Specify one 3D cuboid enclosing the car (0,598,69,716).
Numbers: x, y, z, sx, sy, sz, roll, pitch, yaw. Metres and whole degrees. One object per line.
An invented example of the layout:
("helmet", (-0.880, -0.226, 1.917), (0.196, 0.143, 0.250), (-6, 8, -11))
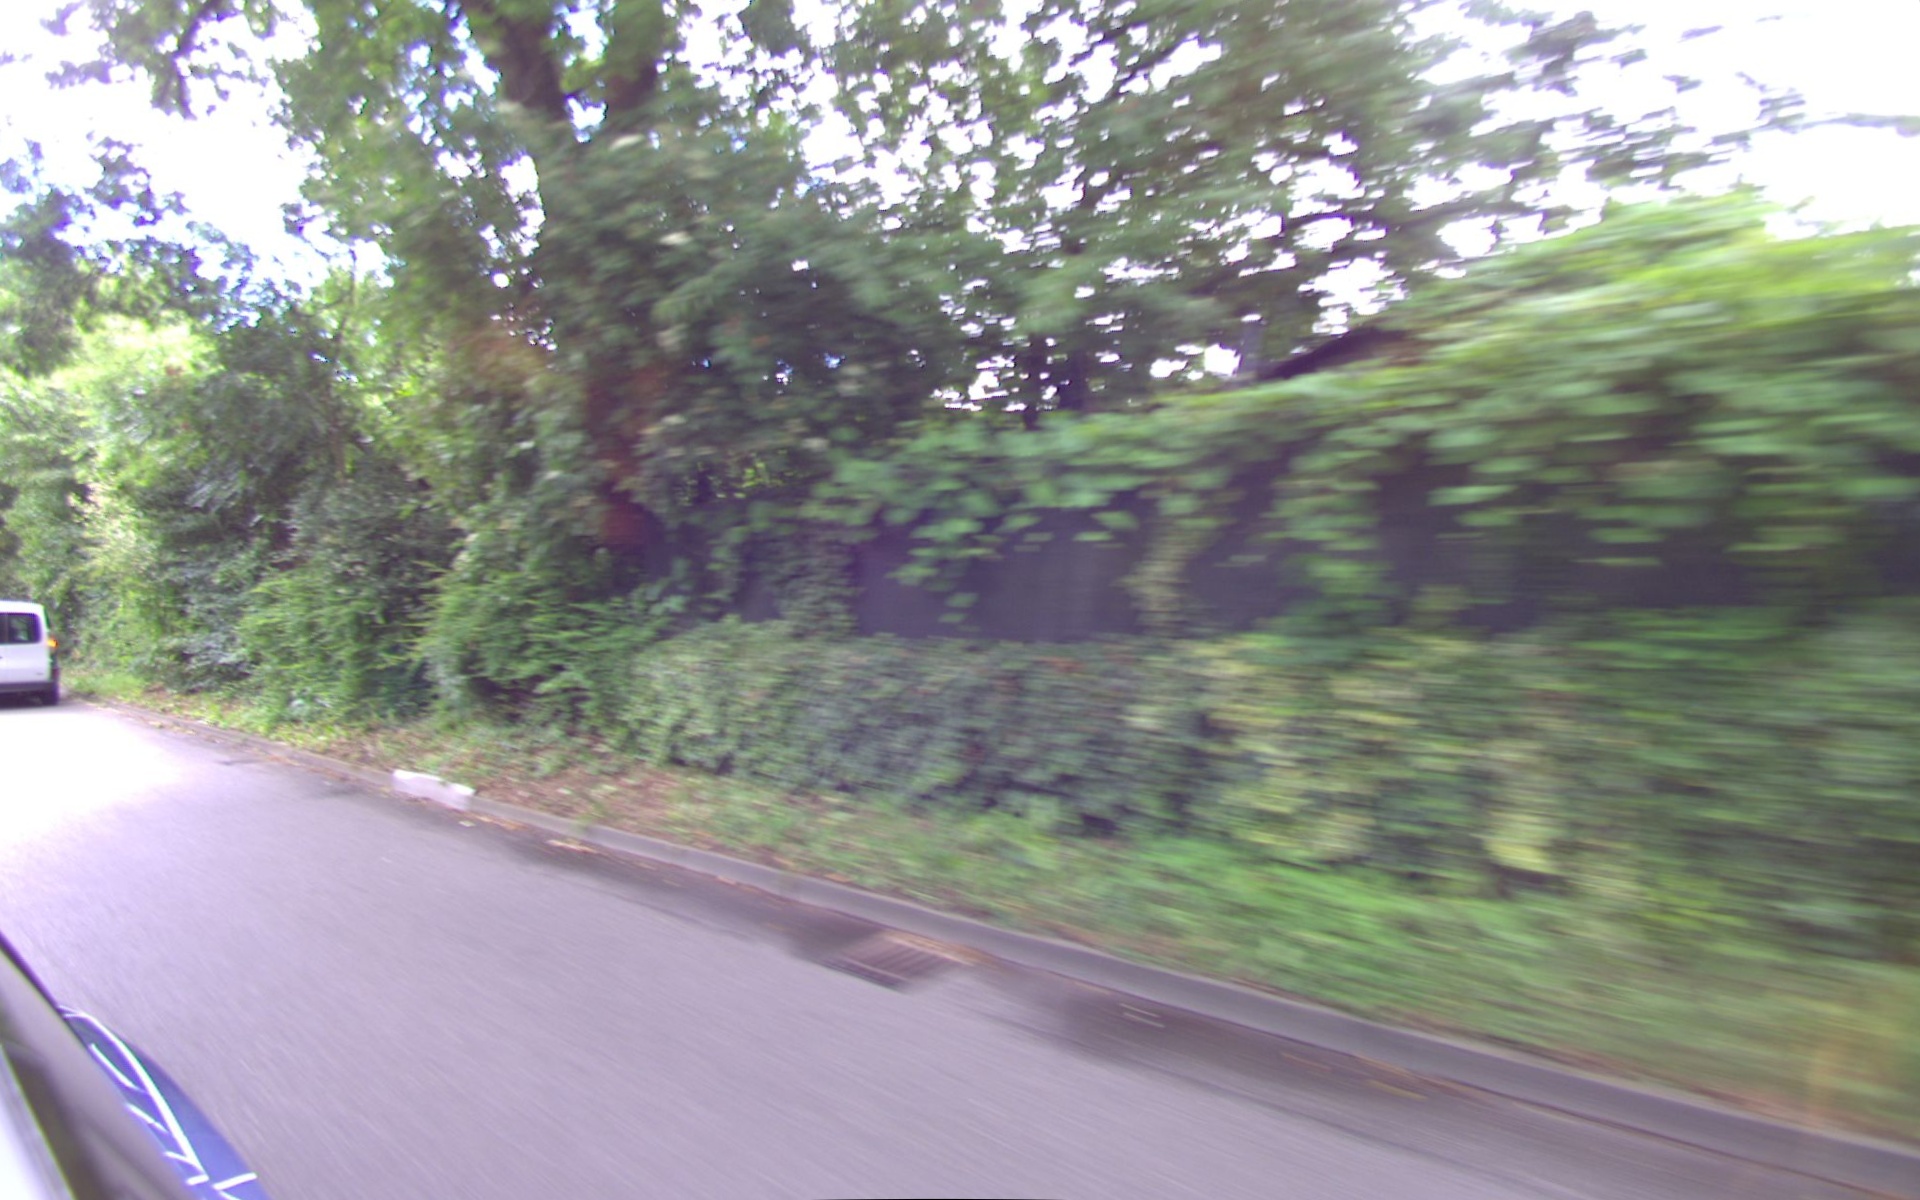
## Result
("car", (-17.427, 0.934, 17.931), (4.428, 1.928, 1.854), (0, -1, 40))
